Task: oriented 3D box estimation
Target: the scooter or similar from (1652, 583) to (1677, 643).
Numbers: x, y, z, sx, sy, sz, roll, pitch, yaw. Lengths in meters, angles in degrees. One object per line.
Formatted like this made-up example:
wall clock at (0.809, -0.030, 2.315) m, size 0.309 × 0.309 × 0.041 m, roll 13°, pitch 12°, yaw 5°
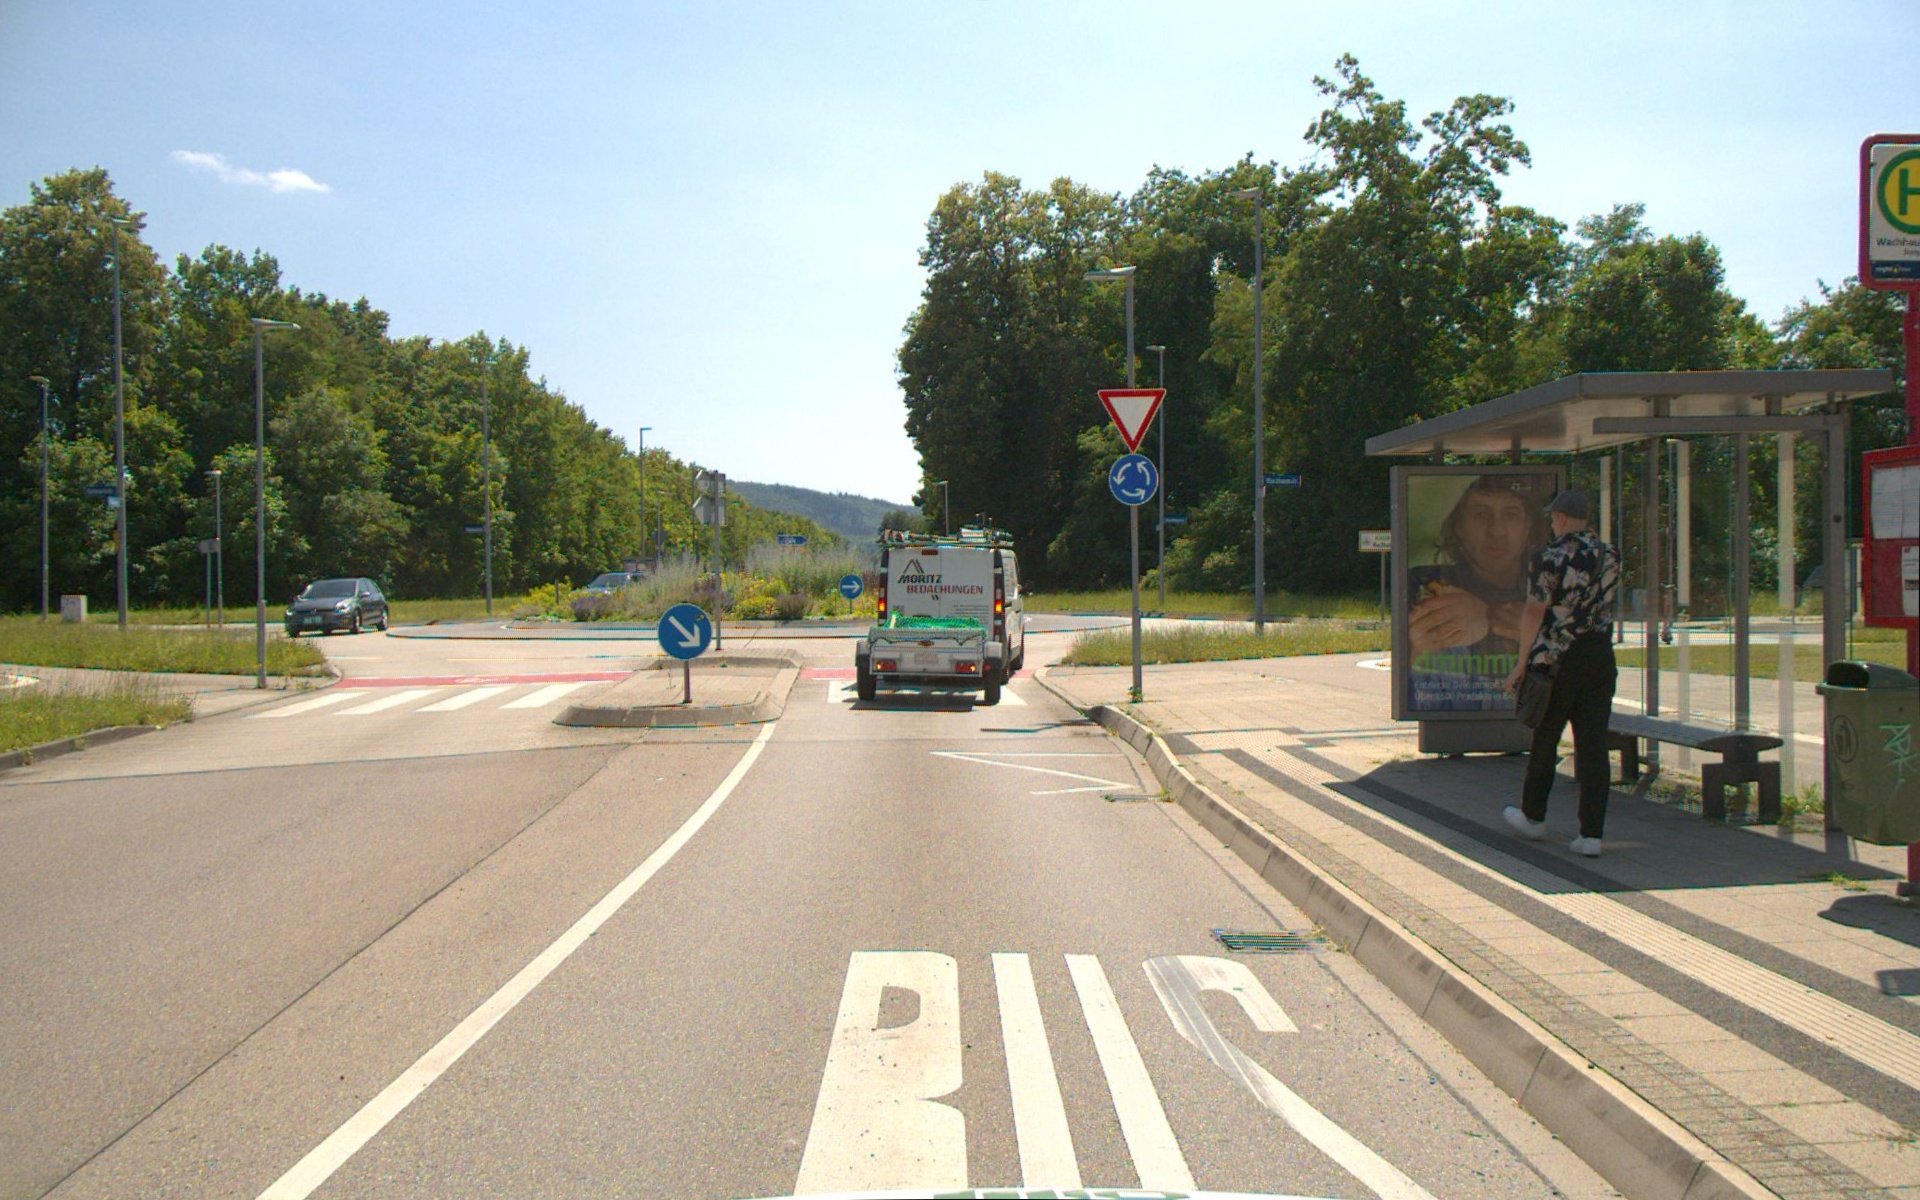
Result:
scooter or similar at (14.652, 0.262, 34.408) m, size 0.437 × 1.222 × 1.398 m, roll 0°, pitch 0°, yaw 25°

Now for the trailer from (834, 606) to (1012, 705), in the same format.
trailer at (-0.381, 0.652, 20.968) m, size 2.077 × 1.116 × 3.355 m, roll 0°, pitch 0°, yaw 2°

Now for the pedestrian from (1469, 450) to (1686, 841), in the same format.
pedestrian at (3.109, 0.213, 8.398) m, size 0.694 × 1.854 × 0.826 m, roll -3°, pitch 0°, yaw -3°

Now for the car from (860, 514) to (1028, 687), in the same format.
car at (-0.124, -0.005, 25.094) m, size 2.120 × 2.357 × 4.984 m, roll 0°, pitch 0°, yaw 4°

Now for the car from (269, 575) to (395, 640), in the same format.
car at (-16.484, 0.157, 43.655) m, size 1.955 × 1.504 × 4.285 m, roll -2°, pitch 1°, yaw -5°
